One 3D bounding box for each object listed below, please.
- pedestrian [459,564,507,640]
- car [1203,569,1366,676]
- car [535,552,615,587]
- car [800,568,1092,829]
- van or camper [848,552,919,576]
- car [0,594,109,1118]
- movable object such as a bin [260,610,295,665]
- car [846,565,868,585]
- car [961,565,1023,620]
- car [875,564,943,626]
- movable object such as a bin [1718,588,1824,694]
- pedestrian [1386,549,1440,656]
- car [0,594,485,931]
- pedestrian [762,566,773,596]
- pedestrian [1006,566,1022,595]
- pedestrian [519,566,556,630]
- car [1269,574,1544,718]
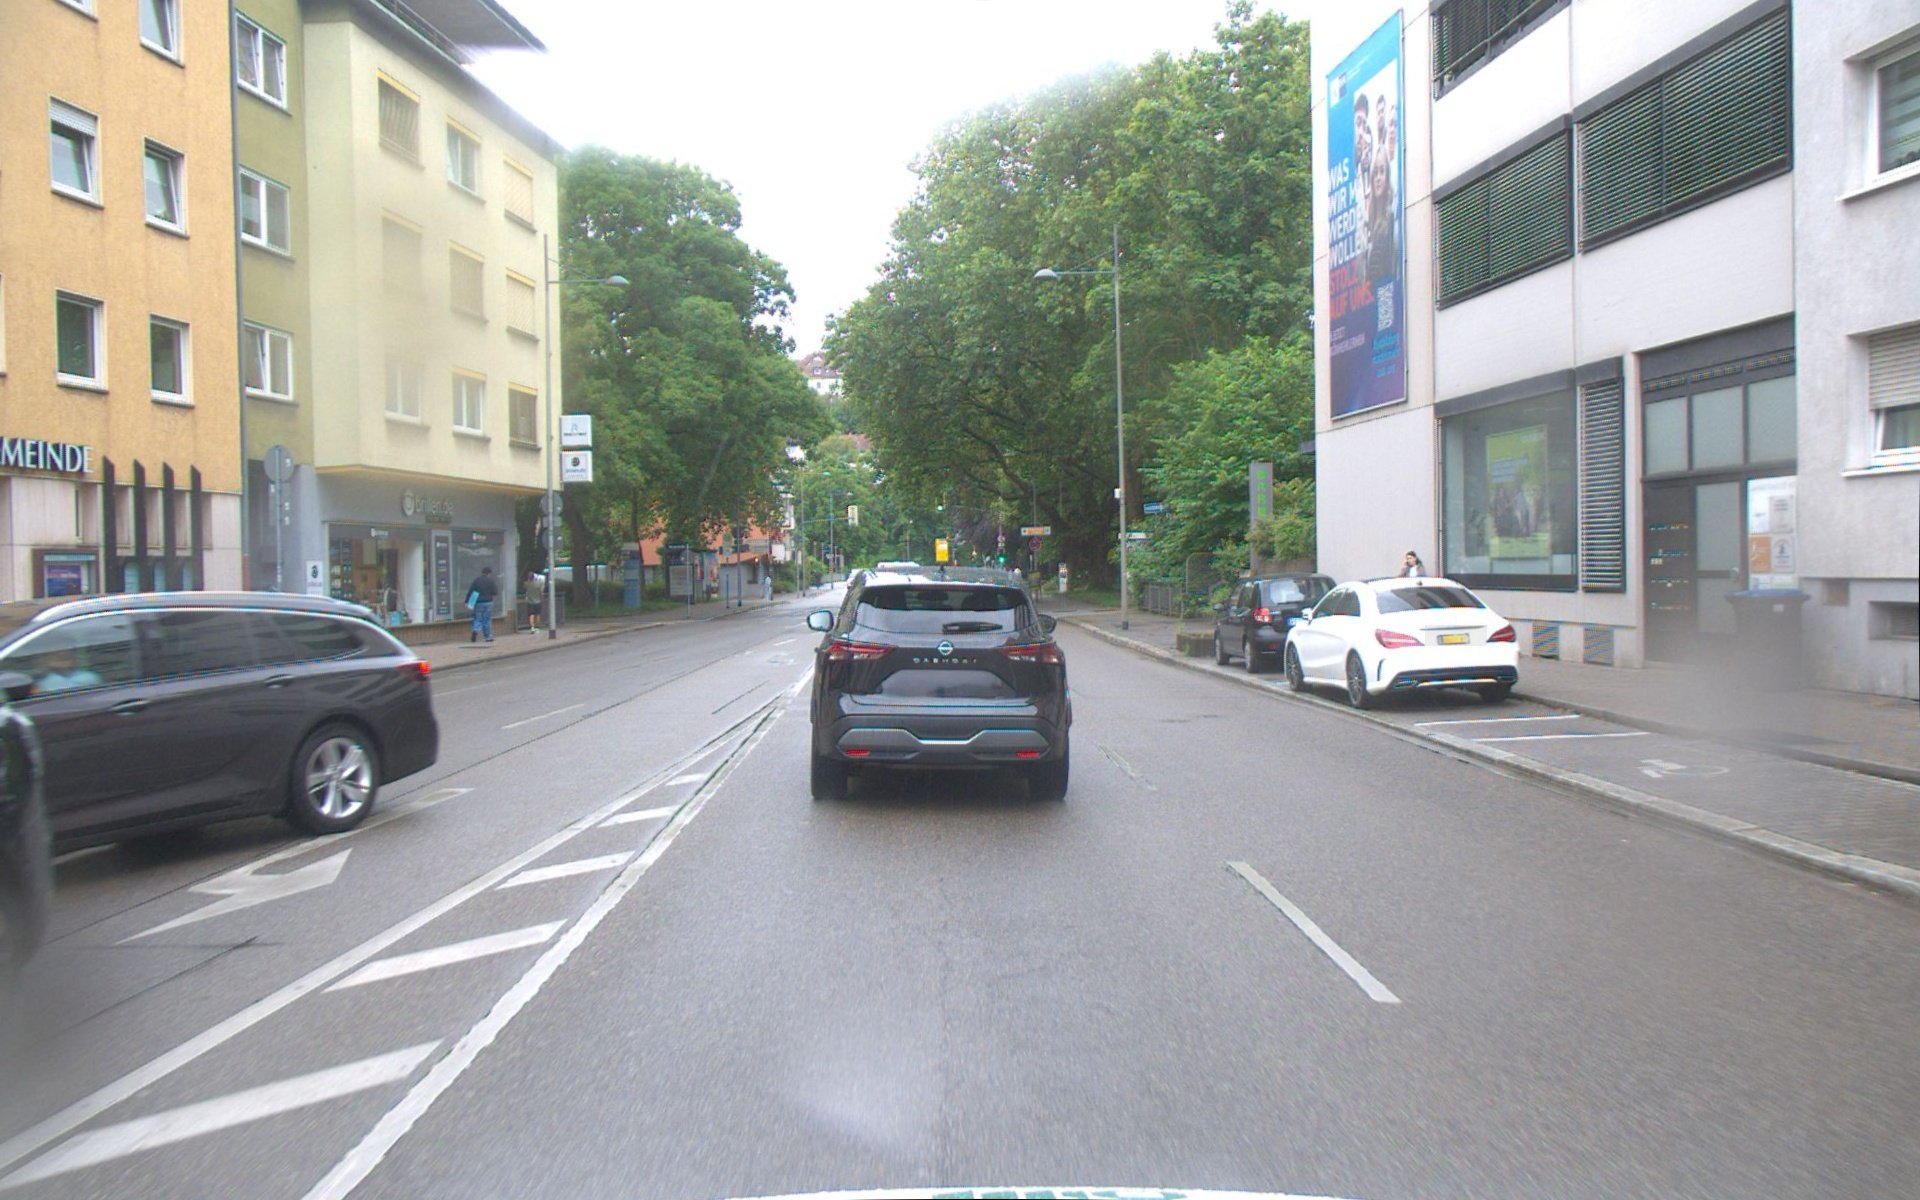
[{"bbox_3d":[-11.696,0.040,40.544,0.847,1.819,0.875,1,1,4],"label":"pedestrian"},{"bbox_3d":[5.080,0.293,26.381,1.680,1.467,4.081,-3,1,-1],"label":"car"},{"bbox_3d":[-20.108,-1.604,86.481,3.757,1.764,1.878,1,1,-4],"label":"car"},{"bbox_3d":[-0.214,0.592,12.540,1.857,1.657,3.997,0,1,-4],"label":"car"},{"bbox_3d":[-11.712,-5.507,252.312,10.712,3.619,3.183,1,1,-3],"label":"van or camper"},{"bbox_3d":[-3.954,0.828,3.595,1.783,1.636,4.431,-2,0,2],"label":"car"},{"bbox_3d":[-12.941,0.710,31.367,0.390,1.024,0.545,-1,1,5],"label":"movable object such as a bin"},{"bbox_3d":[-9.577,-2.312,154.266,1.784,1.827,3.865,1,1,-1],"label":"car"},{"bbox_3d":[1.137,-0.284,60.664,1.907,1.848,3.997,-3,0,-3],"label":"car"},{"bbox_3d":[-1.513,-0.157,50.688,1.906,1.714,4.000,-3,0,-1],"label":"car"},{"bbox_3d":[8.718,0.426,17.807,0.699,1.086,0.783,-2,1,-8],"label":"movable object such as a bin"},{"bbox_3d":[7.729,0.043,28.237,0.601,1.767,0.680,-3,1,-9],"label":"pedestrian"},{"bbox_3d":[-4.898,0.814,9.285,1.785,1.458,4.397,-2,2,25],"label":"car"},{"bbox_3d":[-11.874,-1.197,102.172,0.654,1.822,0.720,0,1,-9],"label":"pedestrian"},{"bbox_3d":[3.448,-1.257,105.626,0.663,1.822,0.710,0,2,-43],"label":"pedestrian"},{"bbox_3d":[-11.481,-0.071,44.994,0.782,1.717,0.817,-1,1,-3],"label":"pedestrian"},{"bbox_3d":[5.201,0.452,19.948,1.740,1.425,4.576,-3,1,-4],"label":"car"}]
